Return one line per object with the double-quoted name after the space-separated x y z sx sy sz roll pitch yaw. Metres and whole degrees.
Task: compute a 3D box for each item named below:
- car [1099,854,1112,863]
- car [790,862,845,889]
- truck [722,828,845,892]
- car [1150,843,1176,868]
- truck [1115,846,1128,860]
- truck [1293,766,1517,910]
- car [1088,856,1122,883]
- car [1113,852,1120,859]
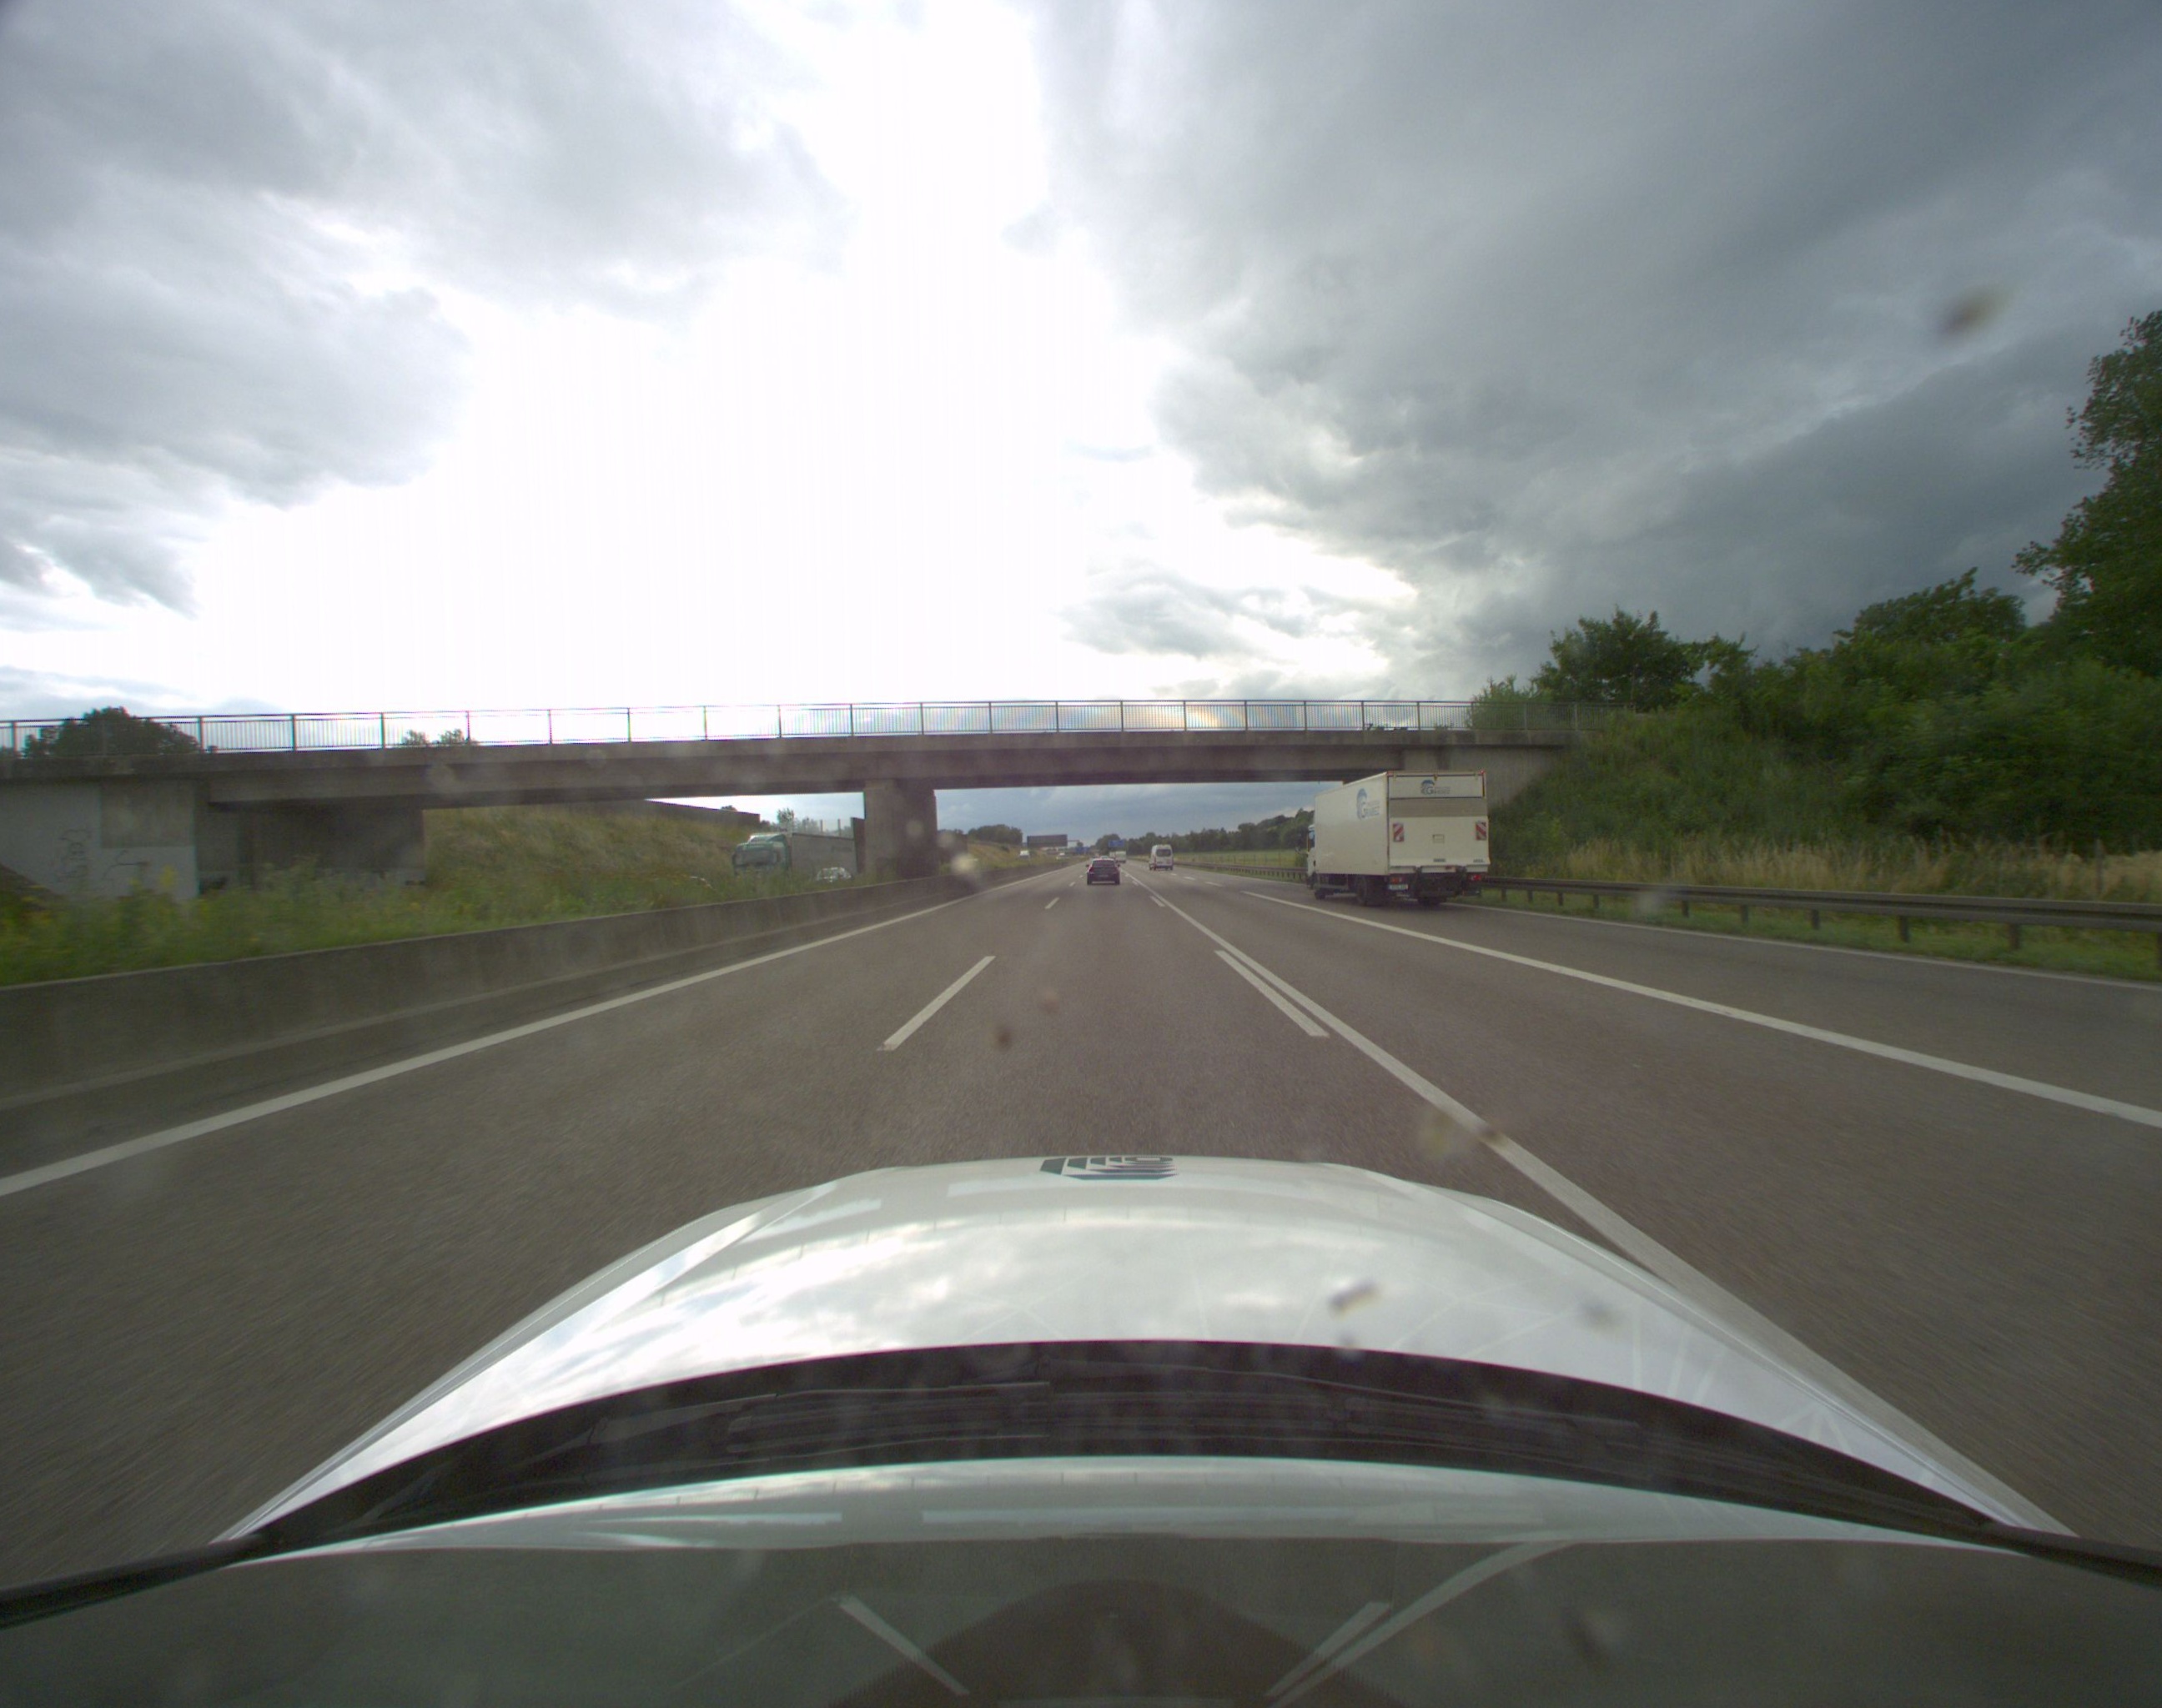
3.962 0.718 130.196 1.987 1.298 4.000 -3 0 1 "car"
-16.106 1.274 50.005 1.721 1.484 4.922 -3 0 0 "car"
-19.389 0.380 54.468 2.986 3.684 13.013 -2 0 2 "truck"
8.691 0.143 86.905 2.213 2.568 6.258 -2 0 2 "car"
8.912 -0.140 180.054 2.700 2.964 12.449 0 0 1 "truck"
8.988 -0.372 24.157 3.094 3.471 8.889 0 0 0 "truck"
1.325 0.804 44.622 1.737 1.389 4.001 -1 0 1 "car"
10.456 0.543 242.041 1.986 2.013 4.001 -3 0 1 "car"
